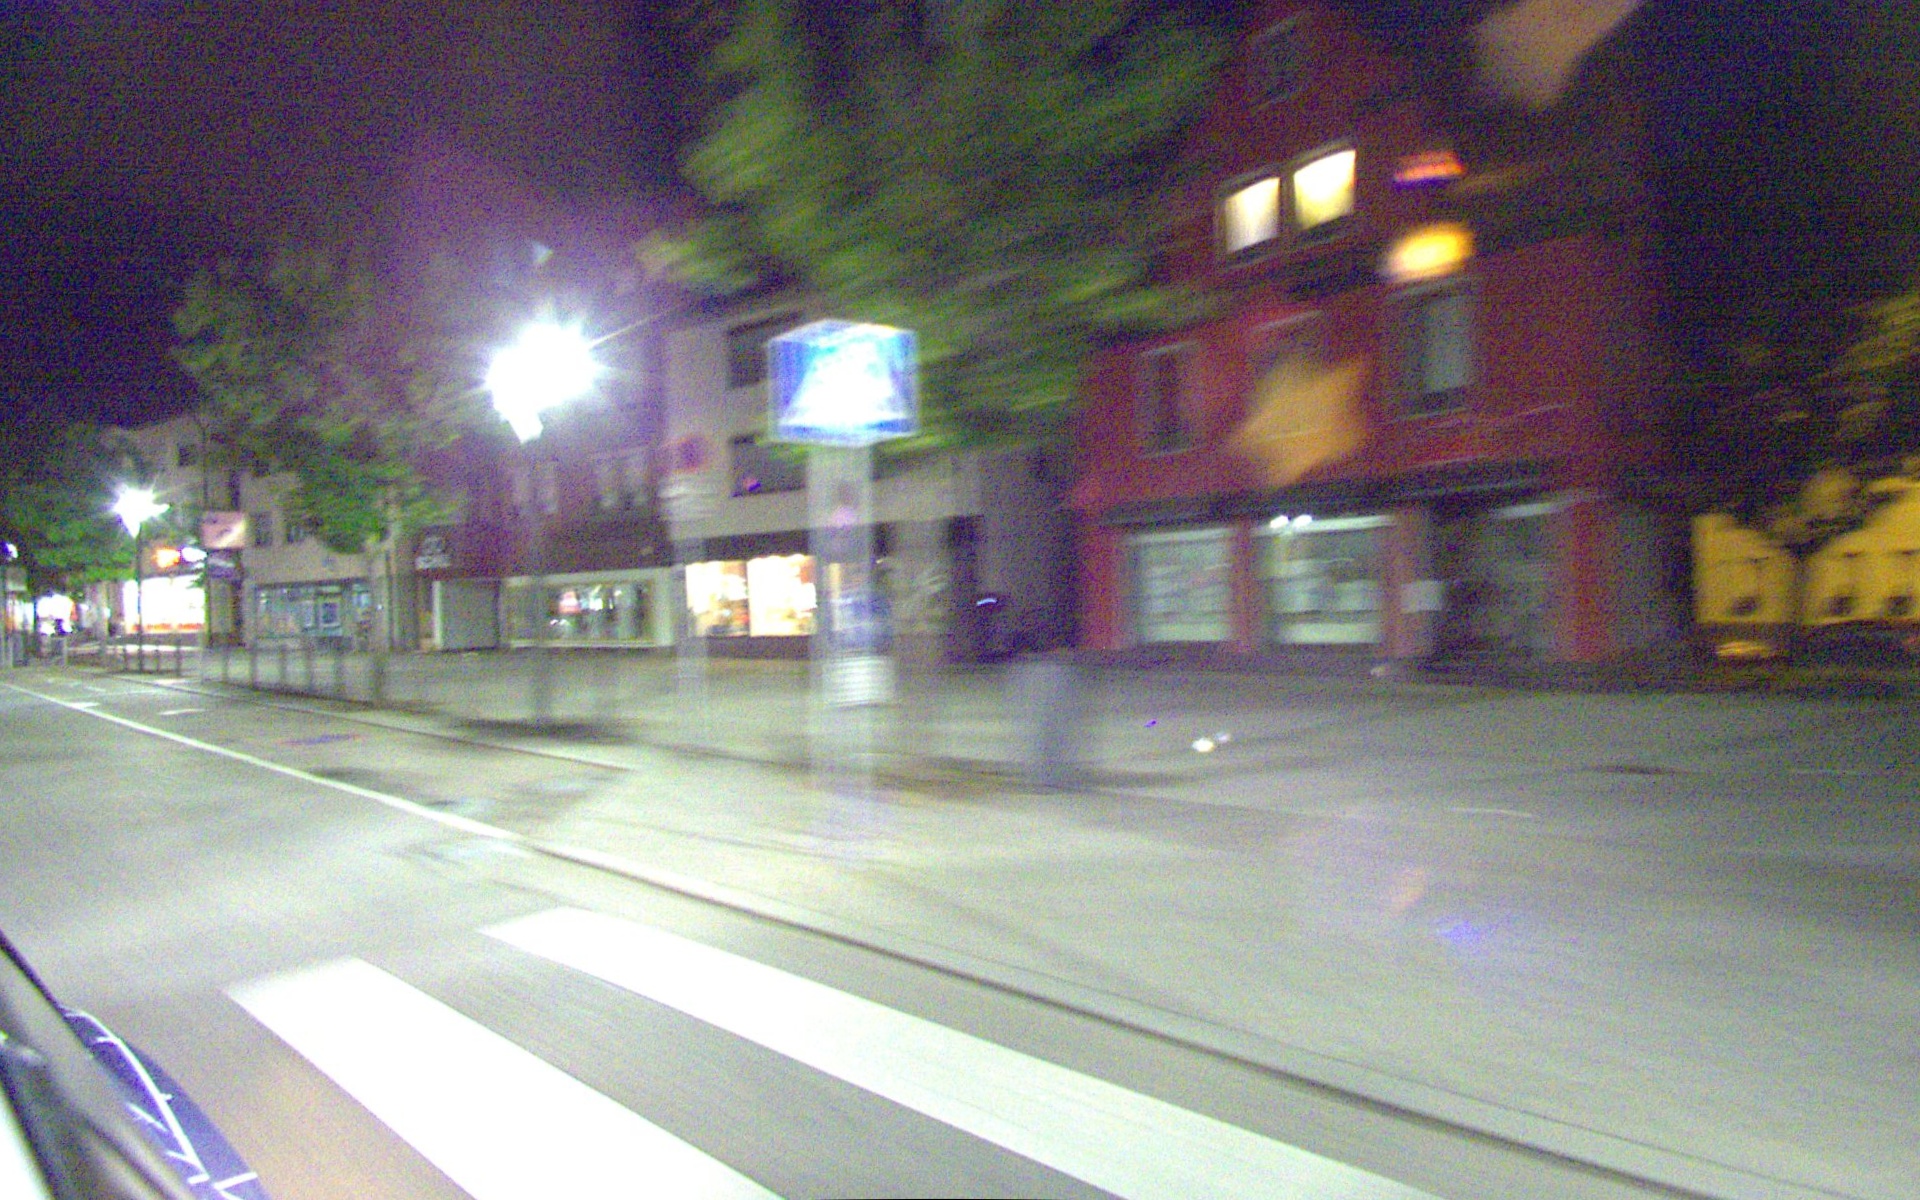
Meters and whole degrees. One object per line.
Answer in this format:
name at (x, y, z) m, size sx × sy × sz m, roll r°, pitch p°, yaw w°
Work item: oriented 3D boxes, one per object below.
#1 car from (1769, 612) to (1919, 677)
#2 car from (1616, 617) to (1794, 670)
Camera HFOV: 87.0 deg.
car at (21.199, 1.003, 23.218) m, size 1.793 × 1.386 × 4.004 m, roll 0°, pitch -2°, yaw -5°
car at (20.897, 1.231, 28.622) m, size 1.793 × 1.386 × 4.004 m, roll 0°, pitch -2°, yaw -5°
